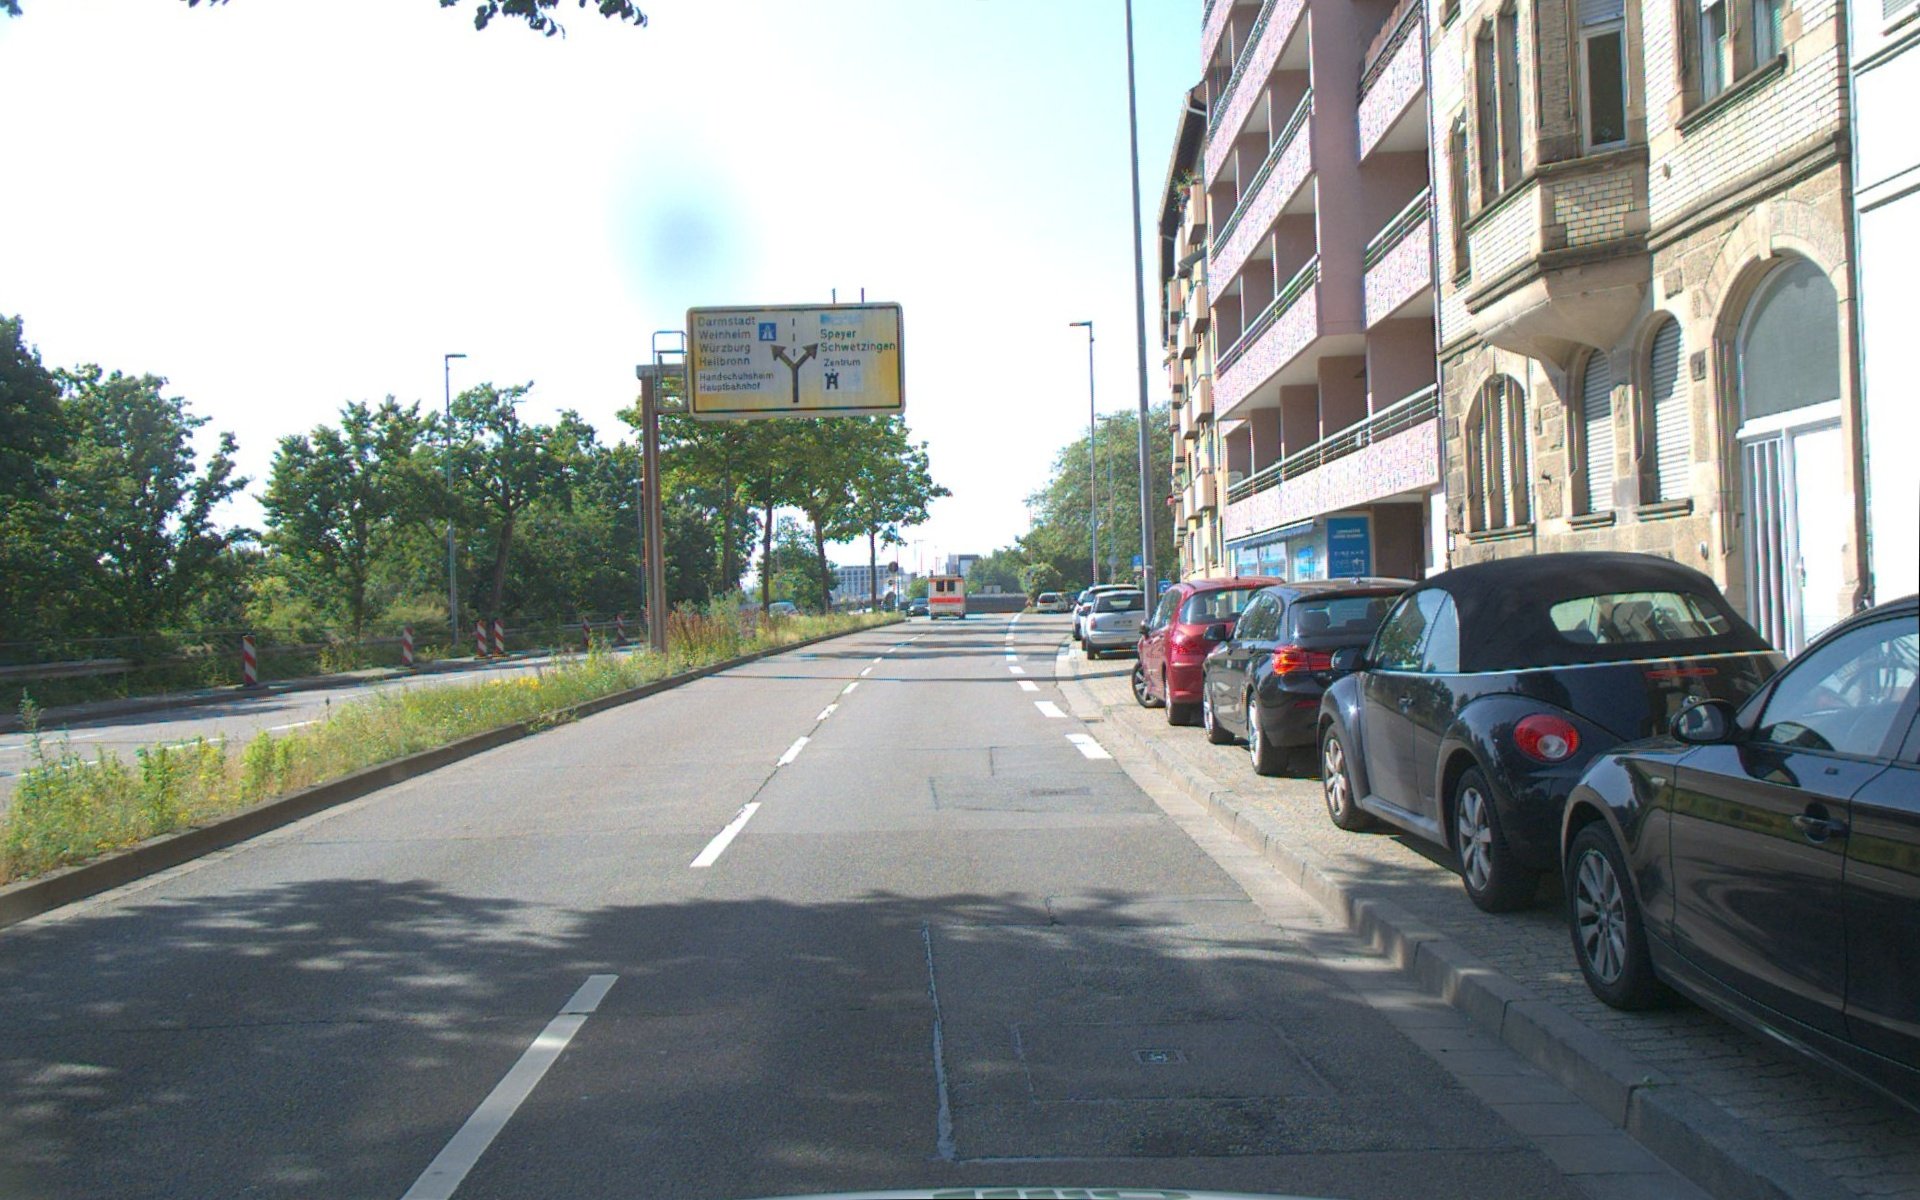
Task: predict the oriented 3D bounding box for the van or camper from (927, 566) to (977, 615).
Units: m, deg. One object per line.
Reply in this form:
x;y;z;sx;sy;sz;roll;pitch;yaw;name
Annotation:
-0.467;-0.565;101.857;2.247;2.838;5.575;-1;0;8;van or camper

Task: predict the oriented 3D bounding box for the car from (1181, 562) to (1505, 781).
2.984;0.507;13.756;1.609;1.478;4.125;-2;0;-1;car

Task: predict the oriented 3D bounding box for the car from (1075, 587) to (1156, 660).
3.466;0.490;37.108;1.643;1.433;3.433;-4;0;5;car

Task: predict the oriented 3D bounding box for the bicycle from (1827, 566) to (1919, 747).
6.591;0.364;11.028;0.642;1.166;1.625;-4;0;-3;bicycle

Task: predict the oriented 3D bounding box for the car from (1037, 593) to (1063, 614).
6.724;0.264;123.117;1.585;1.531;3.464;-1;0;8;car

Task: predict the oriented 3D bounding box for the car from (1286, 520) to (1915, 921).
2.990;0.492;8.696;1.609;1.527;4.009;-3;0;-1;car

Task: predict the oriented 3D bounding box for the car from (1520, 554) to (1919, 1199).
2.953;0.587;4.064;1.705;1.441;4.080;-2;0;0;car

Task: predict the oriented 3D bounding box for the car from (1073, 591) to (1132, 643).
4.422;0.509;51.779;1.719;1.532;4.129;-1;0;4;car

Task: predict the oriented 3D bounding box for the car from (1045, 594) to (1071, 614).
7.600;0.294;127.790;1.684;1.531;4.135;0;0;8;car

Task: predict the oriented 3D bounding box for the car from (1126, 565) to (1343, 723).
2.996;0.455;18.851;1.748;1.508;4.000;-3;0;0;car

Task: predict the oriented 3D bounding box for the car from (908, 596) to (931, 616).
-3.420;0.501;140.029;1.761;1.557;4.000;-2;0;1;car

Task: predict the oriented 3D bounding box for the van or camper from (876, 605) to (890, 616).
-9.970;1.358;214.578;1.436;1.373;4.631;-2;0;2;van or camper

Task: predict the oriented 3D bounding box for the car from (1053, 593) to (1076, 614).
8.433;0.252;133.238;1.734;1.607;4.189;-3;0;5;car

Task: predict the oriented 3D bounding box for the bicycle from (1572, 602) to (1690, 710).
6.601;0.529;16.344;0.497;0.987;1.653;-2;0;2;bicycle

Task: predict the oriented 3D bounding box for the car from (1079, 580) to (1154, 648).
3.919;0.328;41.887;1.700;1.568;4.356;-3;0;4;car
